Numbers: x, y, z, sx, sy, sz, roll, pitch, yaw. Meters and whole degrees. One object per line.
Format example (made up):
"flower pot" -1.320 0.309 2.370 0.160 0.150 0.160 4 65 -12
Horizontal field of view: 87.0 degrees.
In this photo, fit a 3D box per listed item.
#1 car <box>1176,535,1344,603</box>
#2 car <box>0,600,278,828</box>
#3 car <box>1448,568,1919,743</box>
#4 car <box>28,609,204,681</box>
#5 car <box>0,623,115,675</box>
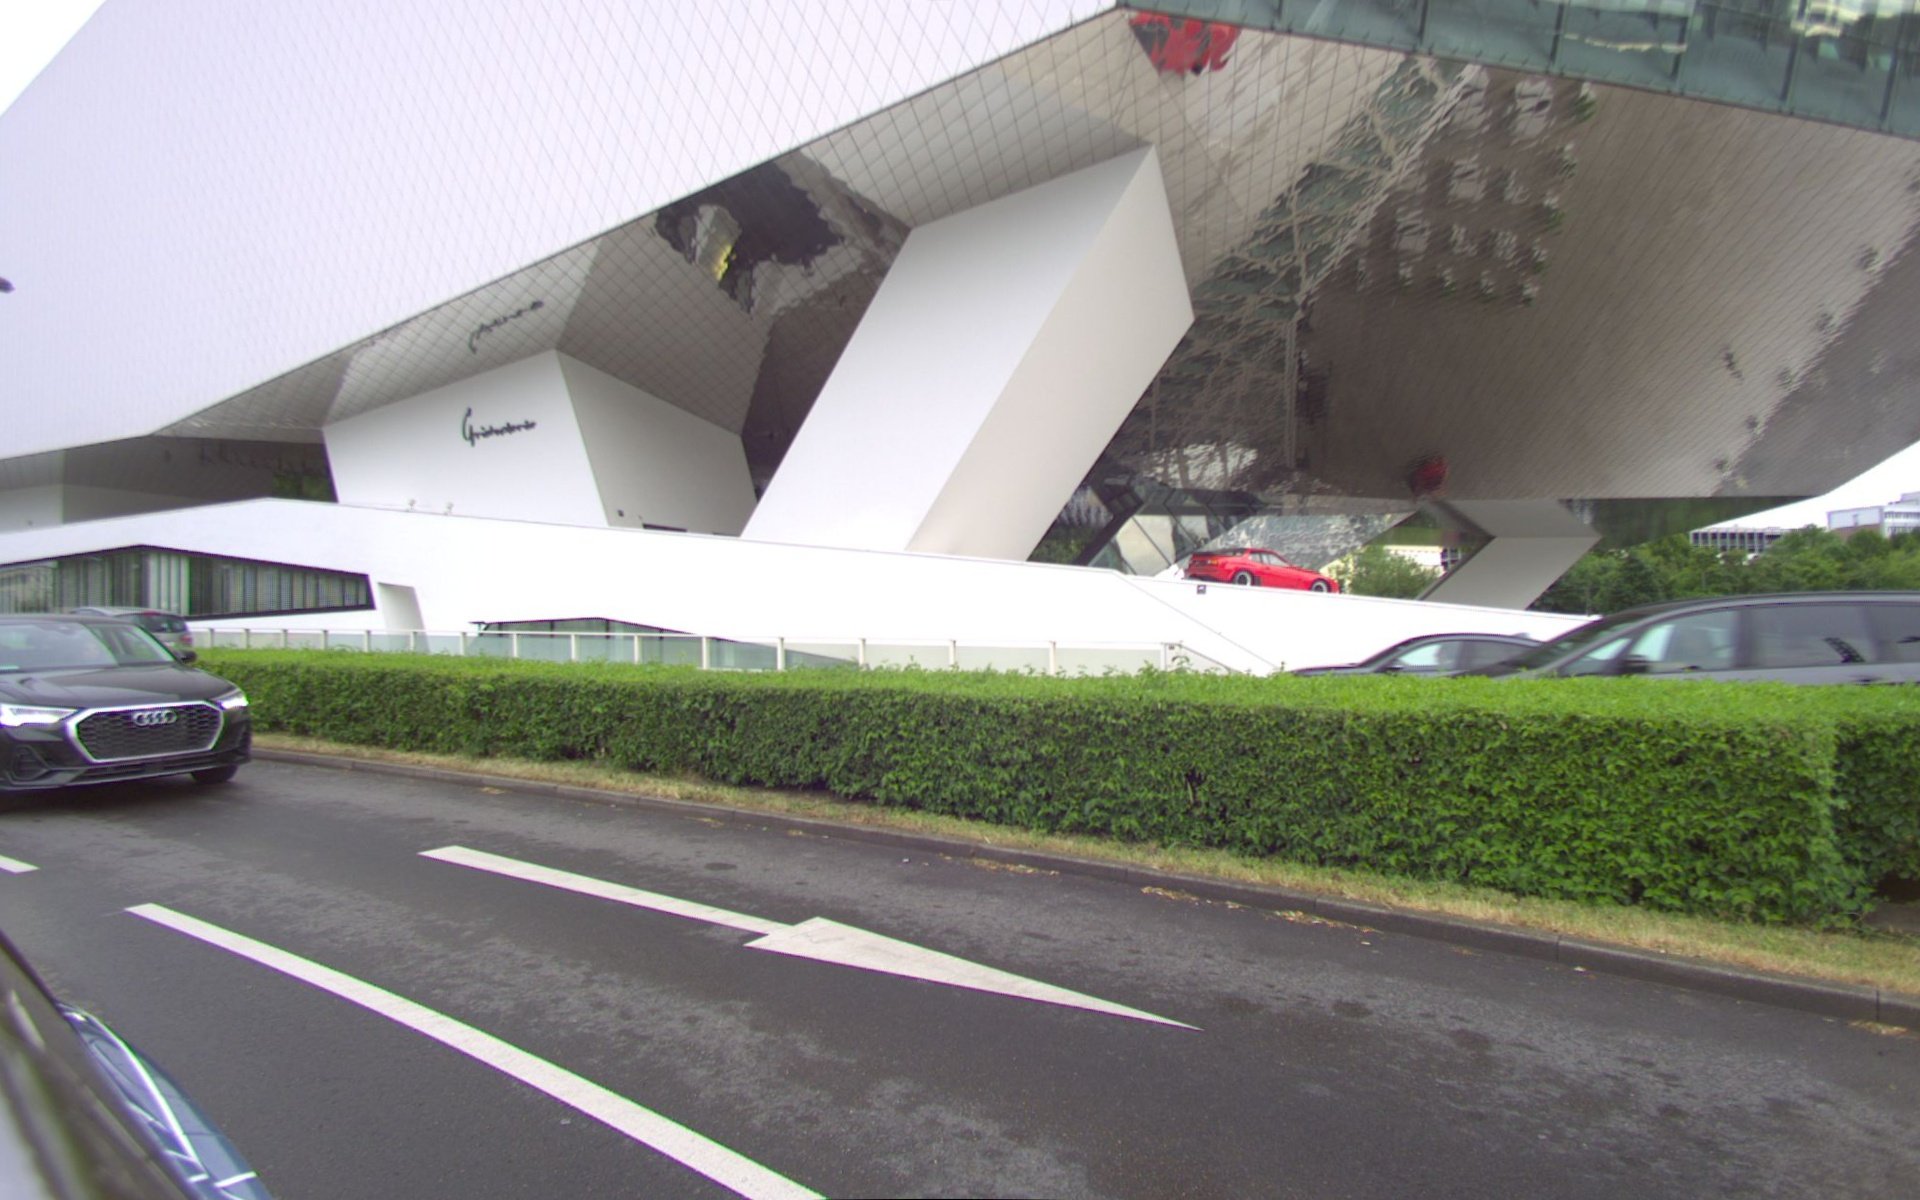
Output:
"car" 8.169 -0.799 27.590 4.032 1.252 1.643 7 -4 -15
"car" -8.149 0.850 8.935 4.271 1.595 1.824 -1 -1 29
"car" 6.919 0.460 8.982 4.453 1.348 1.827 -1 -2 20
"car" -19.139 0.987 22.937 3.984 1.505 1.820 -1 -2 30
"car" -28.140 1.487 31.069 4.492 1.483 1.822 -1 -2 28
